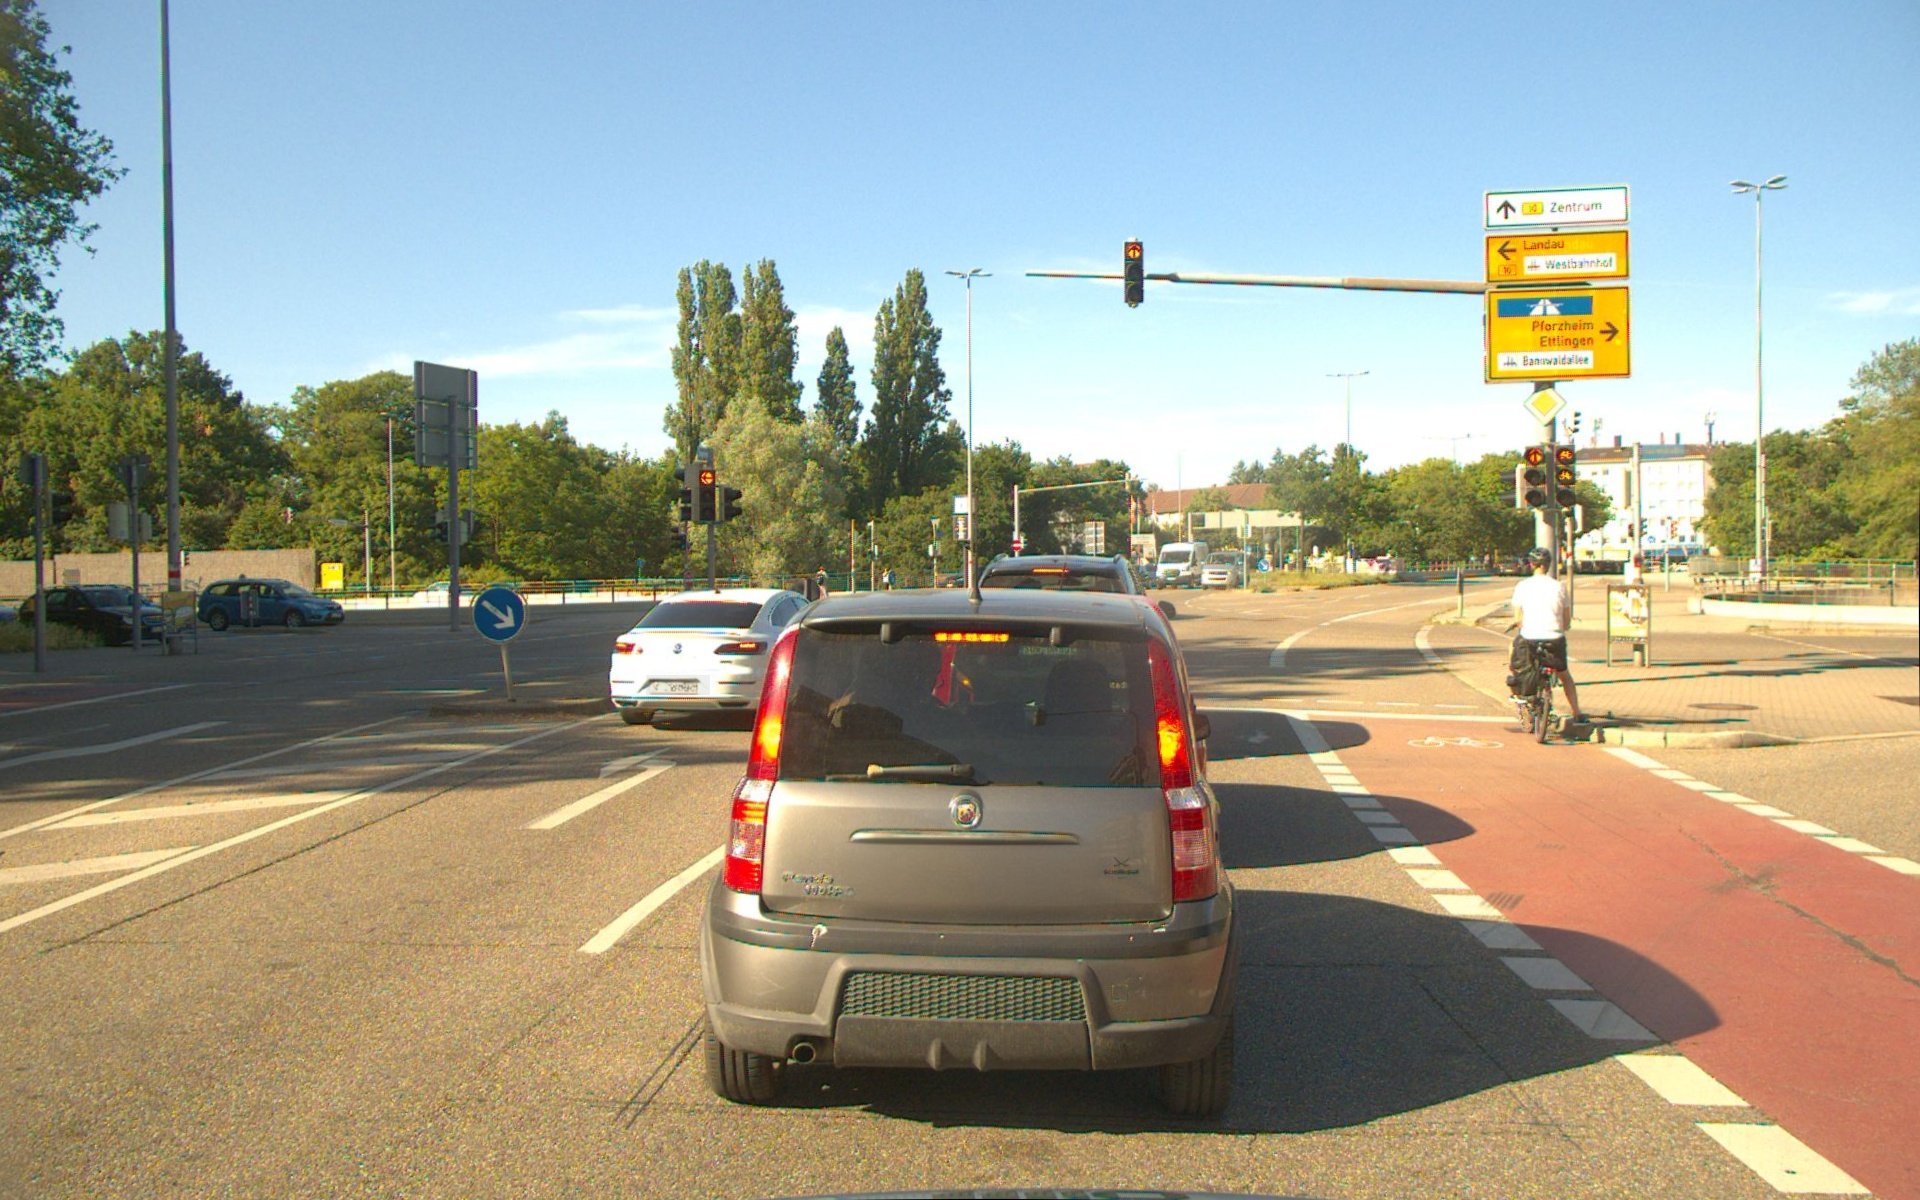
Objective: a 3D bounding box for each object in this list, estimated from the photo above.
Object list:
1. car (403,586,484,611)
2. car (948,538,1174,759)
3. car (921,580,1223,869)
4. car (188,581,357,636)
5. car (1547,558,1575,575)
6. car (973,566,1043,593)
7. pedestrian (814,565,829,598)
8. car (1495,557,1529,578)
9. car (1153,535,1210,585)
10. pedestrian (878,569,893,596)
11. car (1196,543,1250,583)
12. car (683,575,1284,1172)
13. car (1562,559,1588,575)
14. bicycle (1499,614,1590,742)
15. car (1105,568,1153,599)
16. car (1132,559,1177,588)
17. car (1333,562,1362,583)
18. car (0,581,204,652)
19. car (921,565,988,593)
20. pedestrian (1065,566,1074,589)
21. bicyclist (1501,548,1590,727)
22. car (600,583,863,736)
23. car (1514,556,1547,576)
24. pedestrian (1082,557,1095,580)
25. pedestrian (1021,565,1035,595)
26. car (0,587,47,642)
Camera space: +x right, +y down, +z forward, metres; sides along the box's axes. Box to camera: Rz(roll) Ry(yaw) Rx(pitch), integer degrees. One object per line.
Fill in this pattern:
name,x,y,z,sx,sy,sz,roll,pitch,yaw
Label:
car,-30.345,-0.099,97.208,4.410,1.406,1.787,0,1,21
car,1.115,0.372,16.164,1.904,1.872,4.156,-1,1,7
car,0.738,0.648,10.659,1.583,1.488,3.753,-1,1,4
car,-20.753,0.241,49.986,4.348,1.567,1.953,-1,1,13
car,55.680,-3.093,153.130,1.908,1.555,4.092,0,1,28
car,2.979,-1.295,102.016,4.292,1.562,1.758,-2,3,-42
pedestrian,-6.265,-0.848,74.768,0.666,1.488,0.702,-1,1,-7
car,42.424,-2.509,127.028,1.907,1.555,4.093,0,1,27
car,12.204,-2.188,90.942,1.896,2.621,6.091,0,1,19
pedestrian,-4.489,-1.028,99.033,0.698,1.574,0.725,-2,-1,-16
car,13.869,-1.970,87.019,1.896,2.043,4.933,0,1,19
car,0.203,0.701,6.306,1.583,1.542,3.822,-1,1,4
car,60.373,-3.251,162.411,1.908,1.555,4.092,0,1,28
bicycle,5.750,0.736,16.350,0.676,1.121,1.828,1,1,14
car,9.436,-0.930,91.888,1.896,1.534,4.003,-2,1,17
car,11.606,-1.599,98.523,1.773,1.568,4.619,-2,1,18
car,32.727,-2.317,139.481,1.896,1.650,4.508,0,1,19
car,-21.049,0.396,40.218,4.668,1.649,1.953,0,1,15
car,-0.344,-1.327,104.118,3.961,1.653,1.874,1,0,-39
pedestrian,8.447,-1.743,127.644,0.488,1.731,0.500,1,-1,24
bicyclist,5.735,0.337,16.247,0.708,1.688,1.114,1,1,14
car,-2.375,0.555,18.361,1.742,1.439,4.323,0,1,8
car,45.907,-2.731,133.044,1.908,1.555,4.093,0,1,27
pedestrian,9.888,-2.427,126.995,0.777,1.693,0.626,0,-1,40
pedestrian,3.706,-1.087,90.406,0.547,1.574,0.573,-2,0,-16
car,-26.385,0.379,43.519,4.404,1.381,1.879,0,1,24
